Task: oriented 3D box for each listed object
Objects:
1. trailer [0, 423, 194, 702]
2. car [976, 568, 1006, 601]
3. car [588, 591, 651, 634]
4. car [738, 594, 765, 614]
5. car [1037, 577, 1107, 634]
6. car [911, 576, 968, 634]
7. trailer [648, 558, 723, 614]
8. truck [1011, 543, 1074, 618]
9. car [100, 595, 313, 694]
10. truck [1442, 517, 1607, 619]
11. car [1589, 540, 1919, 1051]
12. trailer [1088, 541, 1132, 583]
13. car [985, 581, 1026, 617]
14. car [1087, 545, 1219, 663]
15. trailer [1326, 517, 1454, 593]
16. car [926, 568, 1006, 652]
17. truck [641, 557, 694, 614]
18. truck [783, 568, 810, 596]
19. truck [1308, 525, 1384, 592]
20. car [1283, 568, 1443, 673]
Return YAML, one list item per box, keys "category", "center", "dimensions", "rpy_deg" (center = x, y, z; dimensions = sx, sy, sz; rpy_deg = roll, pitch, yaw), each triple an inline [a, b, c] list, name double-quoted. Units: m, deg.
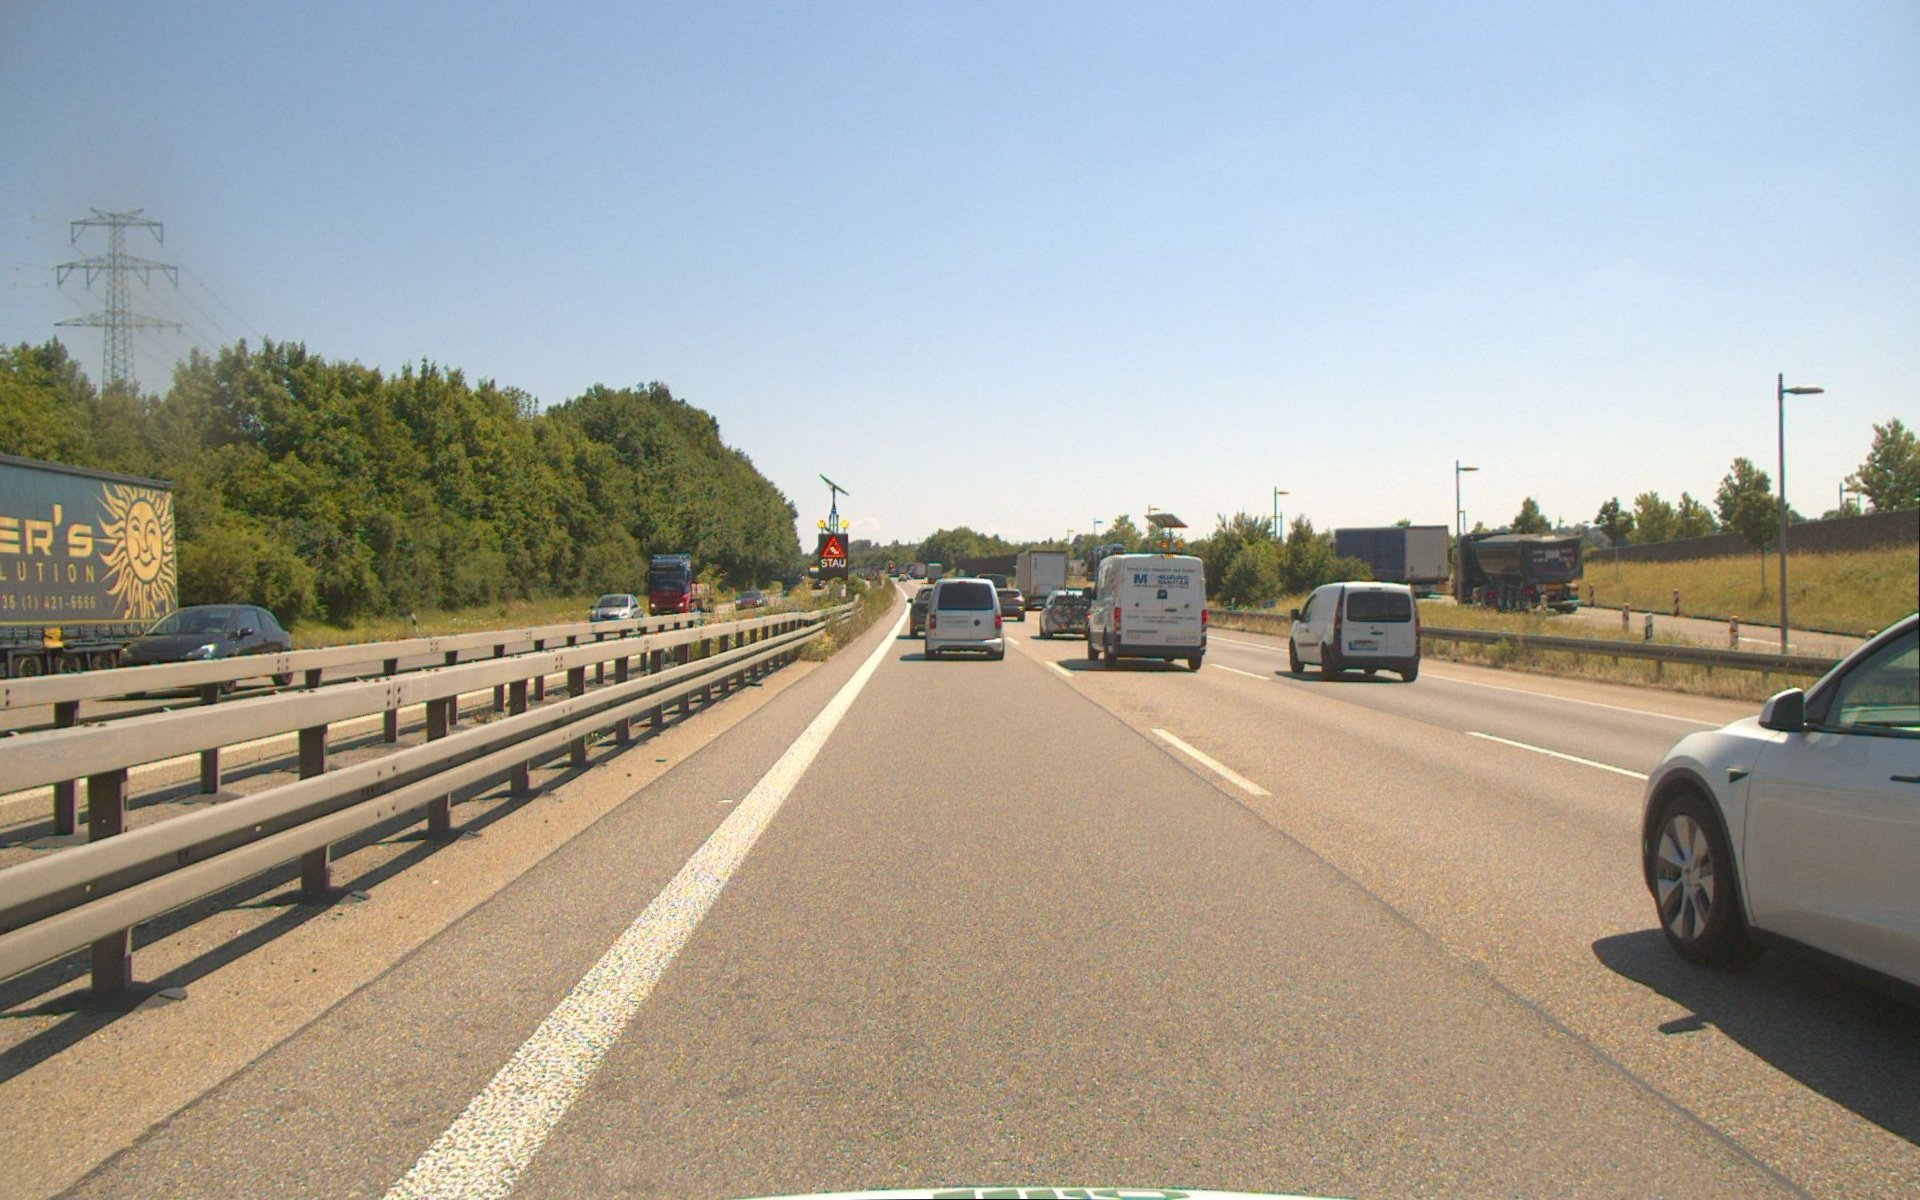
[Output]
- category: "trailer"
  center: [-16.786, -0.584, 26.291]
  dimensions: [3.110, 4.417, 13.808]
  rpy_deg: [-1, 0, -2]
- category: "car"
  center: [1.828, -0.933, 99.005]
  dimensions: [1.640, 1.925, 4.088]
  rpy_deg: [-1, 0, 0]
- category: "car"
  center: [-13.658, 0.486, 66.568]
  dimensions: [1.746, 1.557, 3.882]
  rpy_deg: [-3, 0, -2]
- category: "car"
  center: [-14.796, 0.272, 117.363]
  dimensions: [1.735, 1.357, 4.915]
  rpy_deg: [-2, 0, -6]
- category: "car"
  center: [3.582, 0.157, 53.611]
  dimensions: [1.935, 1.763, 4.088]
  rpy_deg: [-1, 0, 0]
- category: "car"
  center: [-0.610, 0.155, 52.028]
  dimensions: [1.709, 1.731, 4.088]
  rpy_deg: [-1, 0, 0]
- category: "trailer"
  center: [-19.128, -0.959, 116.377]
  dimensions: [2.935, 3.621, 16.018]
  rpy_deg: [-1, 0, -2]
- category: "truck"
  center: [5.836, -1.341, 119.173]
  dimensions: [3.711, 5.087, 12.517]
  rpy_deg: [1, 0, 0]
- category: "car"
  center: [-12.806, 0.700, 28.418]
  dimensions: [1.677, 1.494, 4.146]
  rpy_deg: [-2, 0, 1]
- category: "truck"
  center: [25.157, -1.340, 74.632]
  dimensions: [3.709, 4.154, 12.523]
  rpy_deg: [1, 0, 3]
- category: "car"
  center: [4.098, 0.658, 5.298]
  dimensions: [1.911, 1.665, 5.599]
  rpy_deg: [1, 0, -1]
- category: "trailer"
  center: [16.792, -4.145, 186.327]
  dimensions: [2.553, 4.332, 18.414]
  rpy_deg: [1, 0, -2]
- category: "car"
  center: [2.196, -0.077, 81.446]
  dimensions: [1.863, 1.701, 4.088]
  rpy_deg: [-1, 0, 0]
- category: "car"
  center: [4.003, 0.066, 35.175]
  dimensions: [2.137, 2.293, 5.363]
  rpy_deg: [1, 0, 0]
- category: "trailer"
  center: [25.491, -2.543, 99.062]
  dimensions: [2.992, 4.154, 14.247]
  rpy_deg: [1, 0, -4]
- category: "car"
  center: [0.117, 0.207, 37.666]
  dimensions: [1.709, 1.795, 4.088]
  rpy_deg: [-1, 0, 0]
- category: "truck"
  center: [-18.880, -0.913, 106.851]
  dimensions: [2.935, 3.621, 3.117]
  rpy_deg: [-1, 0, -2]
- category: "truck"
  center: [-22.759, -2.454, 230.239]
  dimensions: [2.935, 3.868, 10.786]
  rpy_deg: [-1, 0, -2]
- category: "truck"
  center: [24.943, -2.614, 107.258]
  dimensions: [2.992, 4.154, 6.393]
  rpy_deg: [1, 0, -4]
- category: "car"
  center: [7.679, 0.367, 31.922]
  dimensions: [1.911, 1.870, 4.176]
  rpy_deg: [-1, 0, -2]
